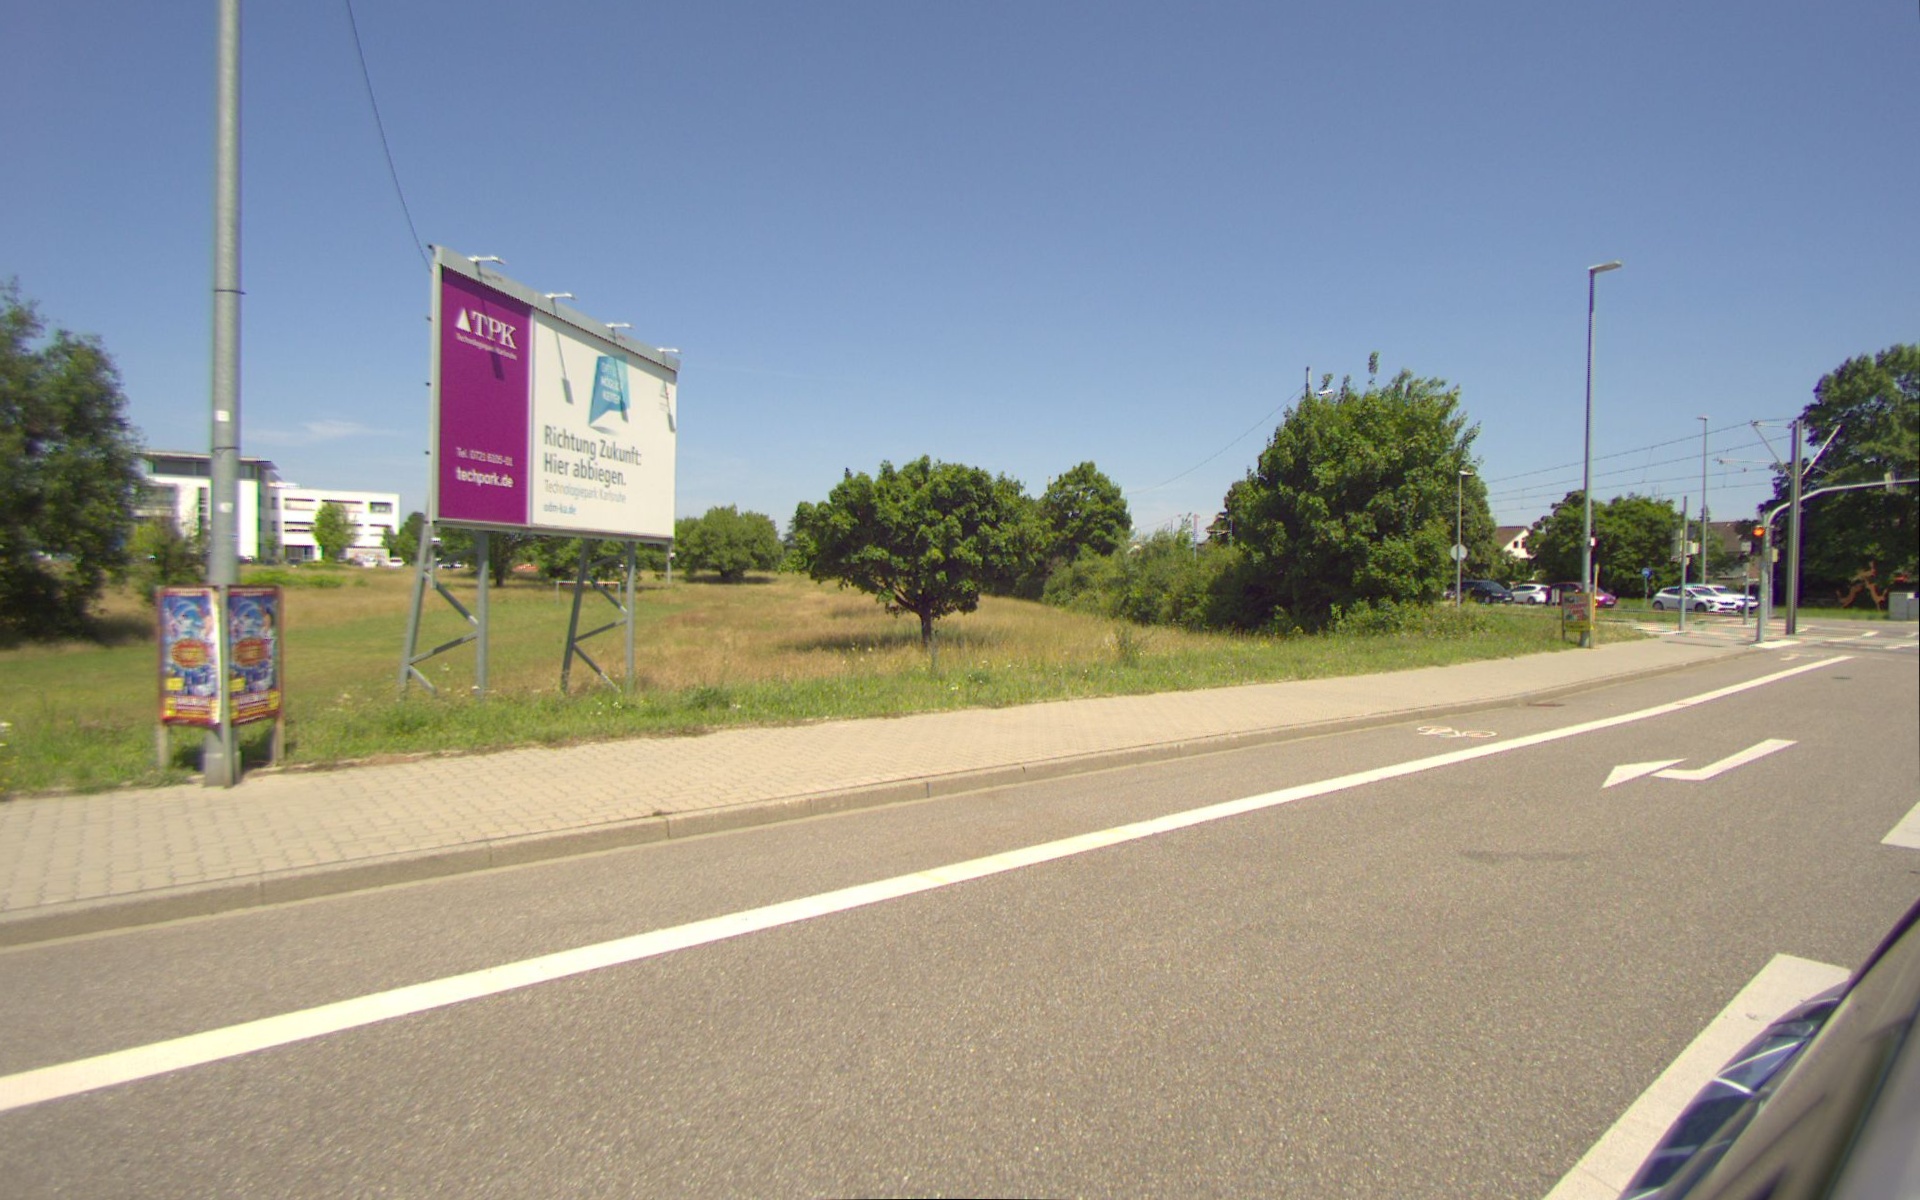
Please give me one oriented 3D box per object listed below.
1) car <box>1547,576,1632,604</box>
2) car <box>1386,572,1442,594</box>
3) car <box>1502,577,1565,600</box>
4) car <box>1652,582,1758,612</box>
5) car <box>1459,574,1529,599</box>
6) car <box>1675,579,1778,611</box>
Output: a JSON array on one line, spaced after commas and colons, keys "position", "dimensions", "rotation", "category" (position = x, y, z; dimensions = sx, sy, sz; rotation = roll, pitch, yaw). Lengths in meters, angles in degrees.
[{"position": [37.890, -0.630, 61.076], "dimensions": [1.836, 1.595, 4.420], "rotation": [2, 1, -10], "category": "car"}, {"position": [34.476, -1.338, 76.942], "dimensions": [1.695, 1.595, 4.420], "rotation": [2, 1, -10], "category": "car"}, {"position": [41.854, -0.891, 73.972], "dimensions": [1.695, 1.523, 3.907], "rotation": [2, 2, -14], "category": "car"}, {"position": [39.392, -0.194, 53.670], "dimensions": [1.836, 1.406, 4.420], "rotation": [2, 1, -10], "category": "car"}, {"position": [36.350, -0.943, 69.035], "dimensions": [1.836, 1.595, 4.420], "rotation": [2, 1, -10], "category": "car"}, {"position": [42.228, -0.287, 55.872], "dimensions": [1.836, 1.595, 4.420], "rotation": [2, 1, -10], "category": "car"}]
